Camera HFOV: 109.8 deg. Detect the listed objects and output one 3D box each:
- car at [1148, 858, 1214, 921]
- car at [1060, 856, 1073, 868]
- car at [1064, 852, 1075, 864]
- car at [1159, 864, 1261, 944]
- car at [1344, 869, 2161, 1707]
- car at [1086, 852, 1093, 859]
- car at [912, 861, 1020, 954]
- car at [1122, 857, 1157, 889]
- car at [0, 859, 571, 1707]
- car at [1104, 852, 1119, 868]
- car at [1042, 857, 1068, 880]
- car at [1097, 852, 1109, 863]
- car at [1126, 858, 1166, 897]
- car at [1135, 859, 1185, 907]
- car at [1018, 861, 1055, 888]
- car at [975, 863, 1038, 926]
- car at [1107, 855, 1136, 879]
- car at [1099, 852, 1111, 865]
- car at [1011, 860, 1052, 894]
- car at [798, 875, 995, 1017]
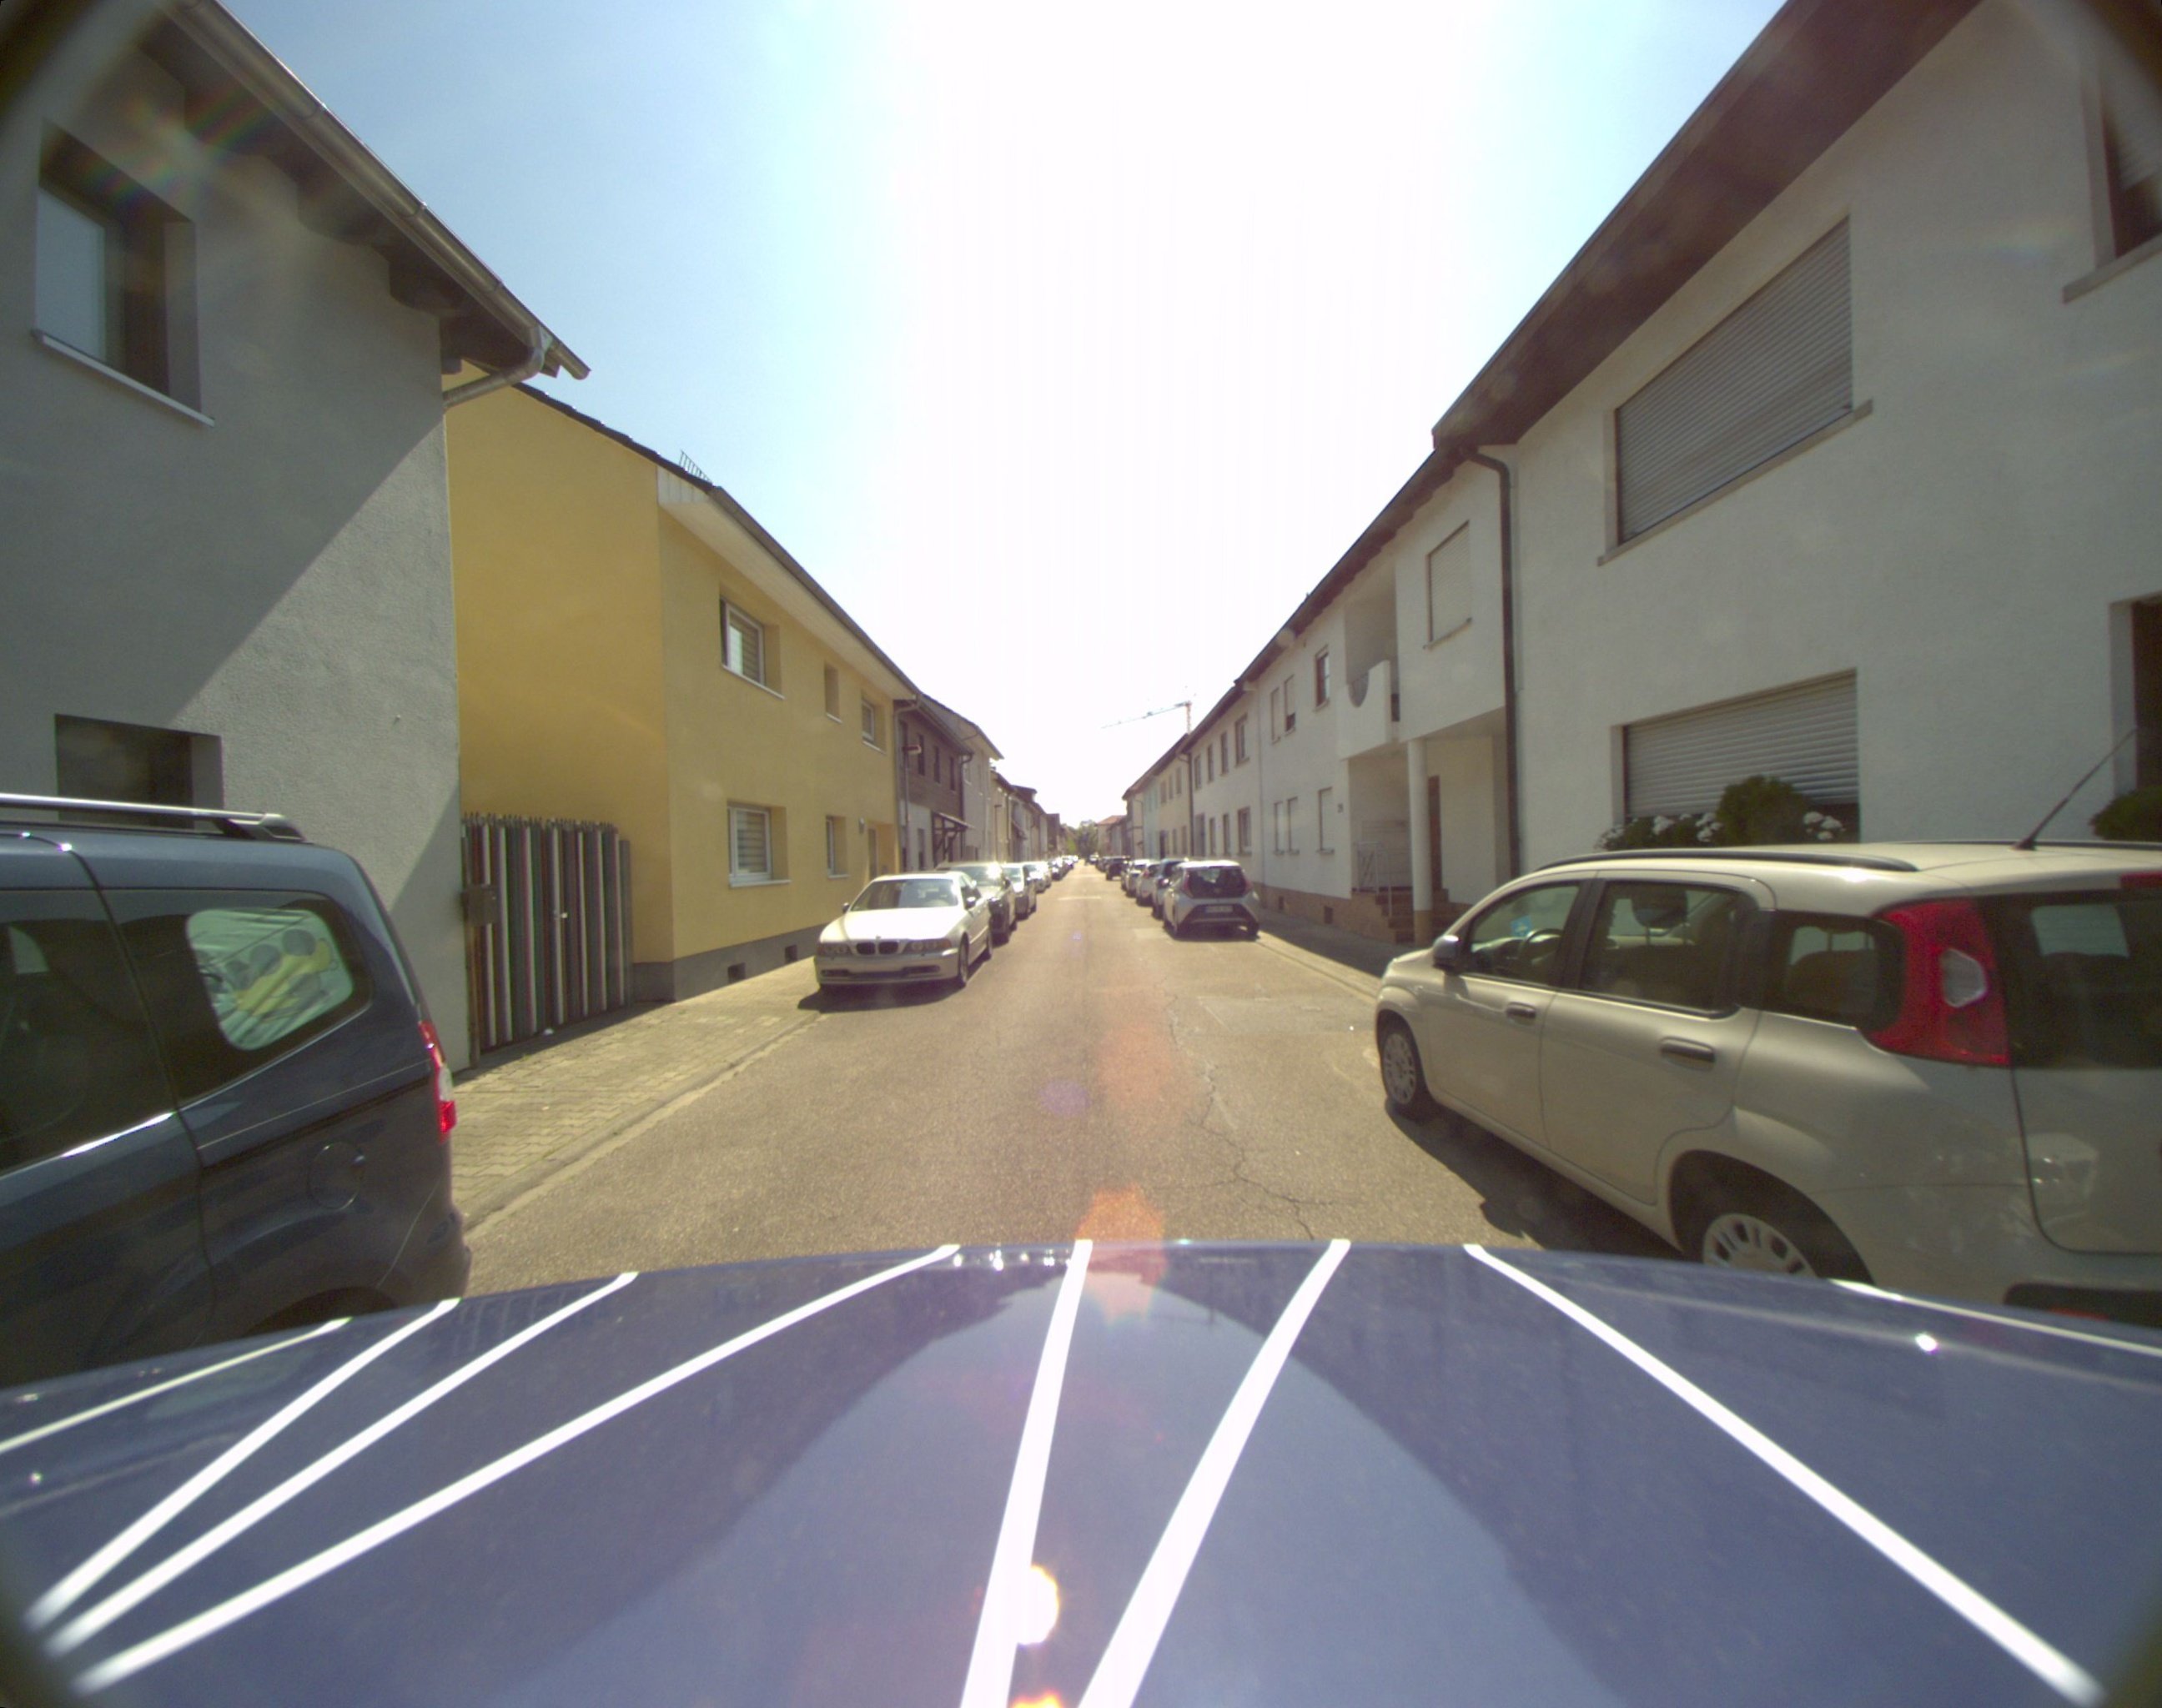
[{"bbox_3d":[2.646,0.896,20.592,1.414,1.519,3.025,-1,0,1],"label":"car"},{"bbox_3d":[-1.745,0.954,91.441,1.414,1.389,3.323,-1,0,0],"label":"car"},{"bbox_3d":[-1.627,0.575,109.877,1.414,1.604,3.323,-1,0,0],"label":"car"},{"bbox_3d":[2.567,0.948,15.733,1.606,1.434,3.214,-1,0,1],"label":"car"},{"bbox_3d":[2.634,0.873,3.161,1.667,1.532,3.687,0,0,-2],"label":"car"},{"bbox_3d":[1.832,0.296,158.270,1.414,1.389,3.323,-1,0,0],"label":"car"},{"bbox_3d":[-2.245,0.983,15.807,1.684,1.575,3.961,-2,0,-2],"label":"car"},{"bbox_3d":[2.838,0.906,37.251,1.414,1.446,3.542,-1,0,0],"label":"car"},{"bbox_3d":[-2.532,0.950,0.361,1.701,1.767,4.199,-3,0,-1],"label":"car"},{"bbox_3d":[3.184,0.618,79.492,1.414,1.582,3.542,-1,0,0],"label":"car"},{"bbox_3d":[-1.886,1.029,56.053,1.736,1.502,3.623,-3,0,0],"label":"car"},{"bbox_3d":[2.902,0.439,101.171,1.414,1.389,3.323,-1,0,0],"label":"car"},{"bbox_3d":[2.631,0.914,31.311,1.414,1.446,3.543,-1,0,1],"label":"car"},{"bbox_3d":[2.617,0.938,25.729,1.414,1.446,3.462,-1,0,1],"label":"car"},{"bbox_3d":[-2.489,1.124,43.143,1.761,1.351,4.045,-3,0,0],"label":"car"},{"bbox_3d":[-2.051,1.068,21.576,1.403,1.518,3.397,-3,0,-1],"label":"car"},{"bbox_3d":[2.783,0.869,53.016,1.819,1.598,3.887,-1,0,0],"label":"car"},{"bbox_3d":[2.941,0.558,93.183,1.414,1.582,3.323,-1,0,0],"label":"car"},{"bbox_3d":[-2.409,1.091,37.623,1.743,1.459,4.045,-3,0,-1],"label":"car"},{"bbox_3d":[-2.276,1.078,10.533,1.666,1.406,4.248,-1,0,0],"label":"car"}]
